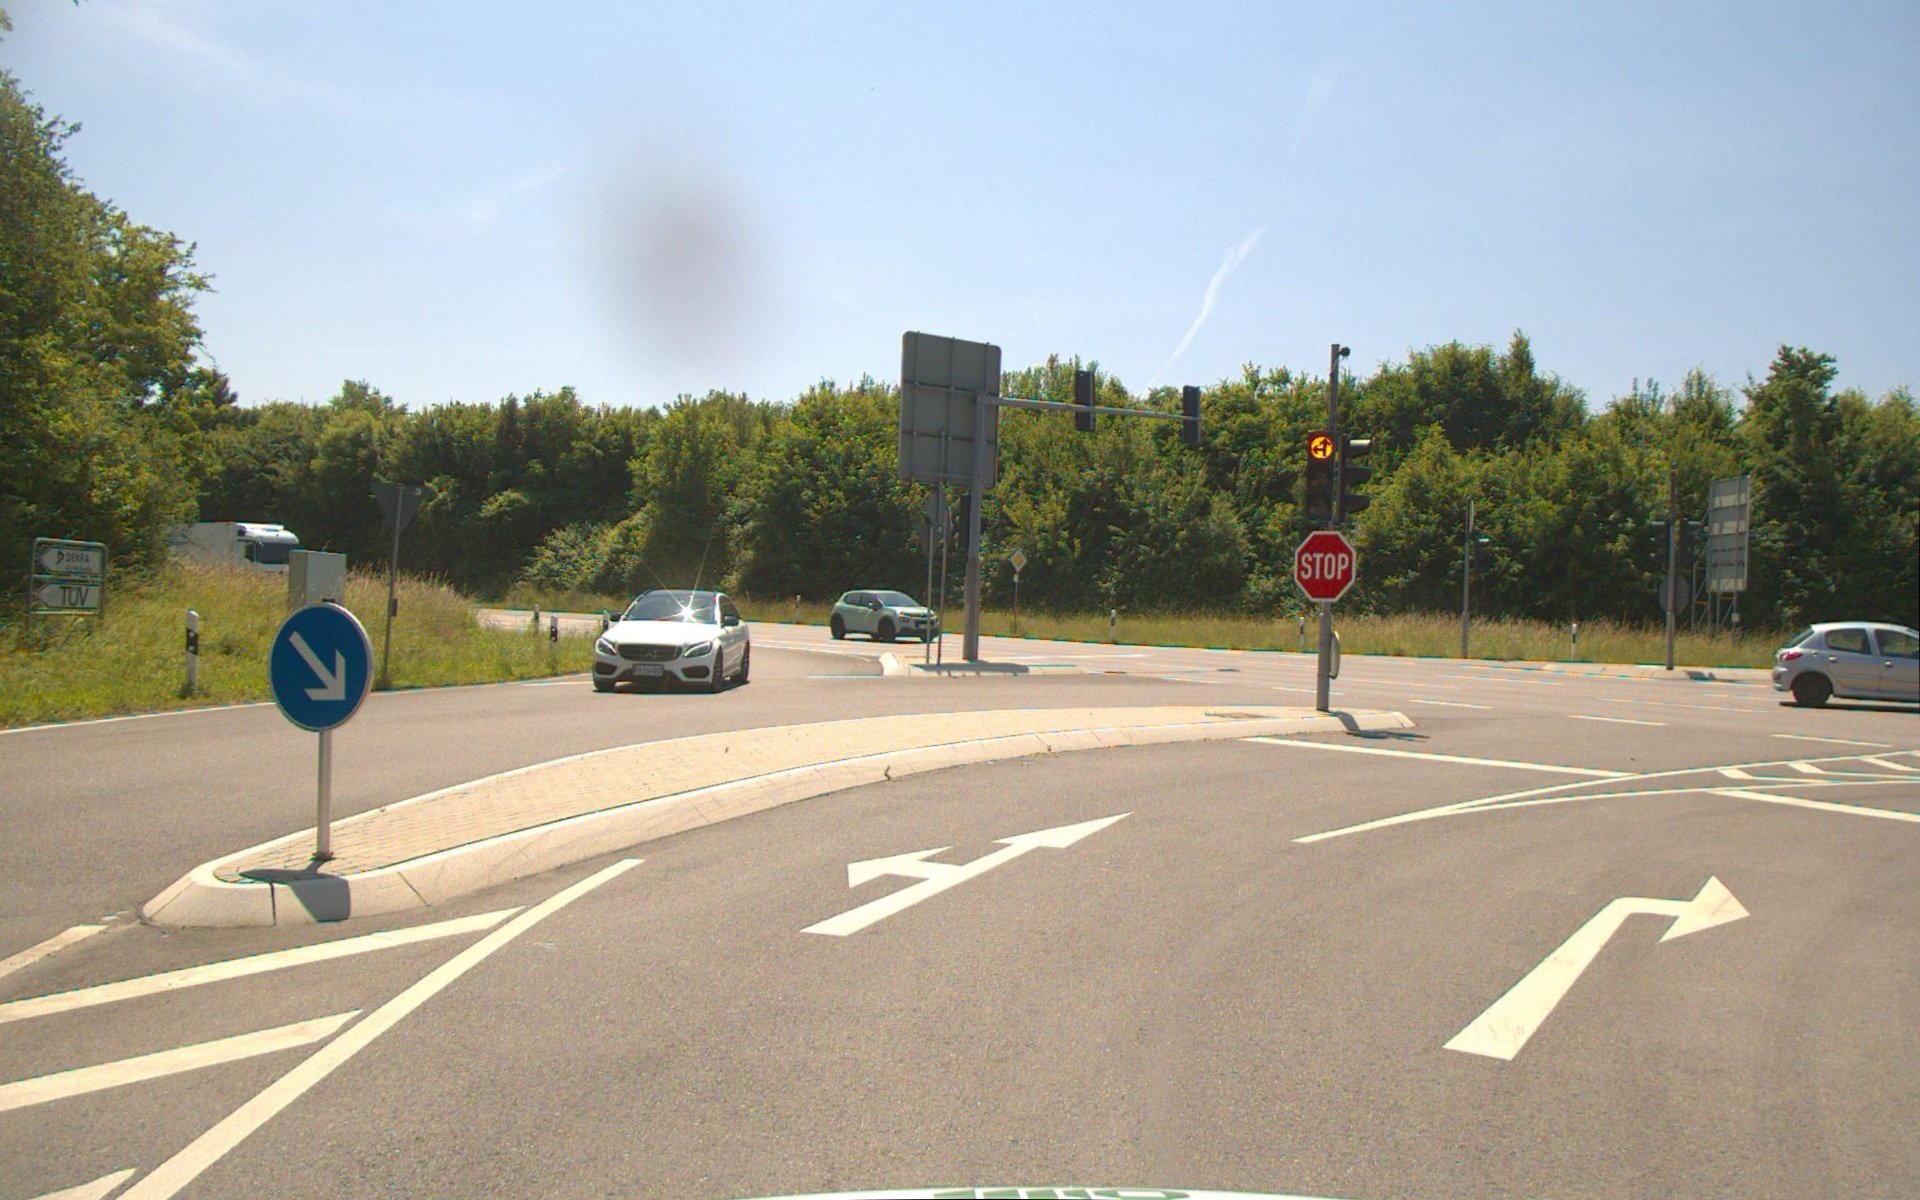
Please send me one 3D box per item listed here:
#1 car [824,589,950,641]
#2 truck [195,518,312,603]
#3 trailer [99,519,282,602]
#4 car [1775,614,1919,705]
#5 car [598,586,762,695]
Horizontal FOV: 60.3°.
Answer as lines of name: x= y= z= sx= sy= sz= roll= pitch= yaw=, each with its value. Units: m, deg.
car: x=-2.226 y=0.418 z=49.762 sx=1.720 sy=1.429 sz=3.926 roll=0 pitch=1 yaw=-42
truck: x=-35.482 y=-1.984 z=83.002 sx=6.157 sy=4.107 sz=2.650 roll=1 pitch=1 yaw=37
trailer: x=-40.584 y=-2.137 z=86.897 sx=13.566 sy=4.106 sz=2.650 roll=2 pitch=1 yaw=37
car: x=15.949 y=1.004 z=28.152 sx=3.698 sy=1.438 sz=1.816 roll=1 pitch=1 yaw=27
car: x=-4.249 y=0.551 z=25.913 sx=1.768 sy=1.437 sz=5.333 roll=3 pitch=0 yaw=-2
